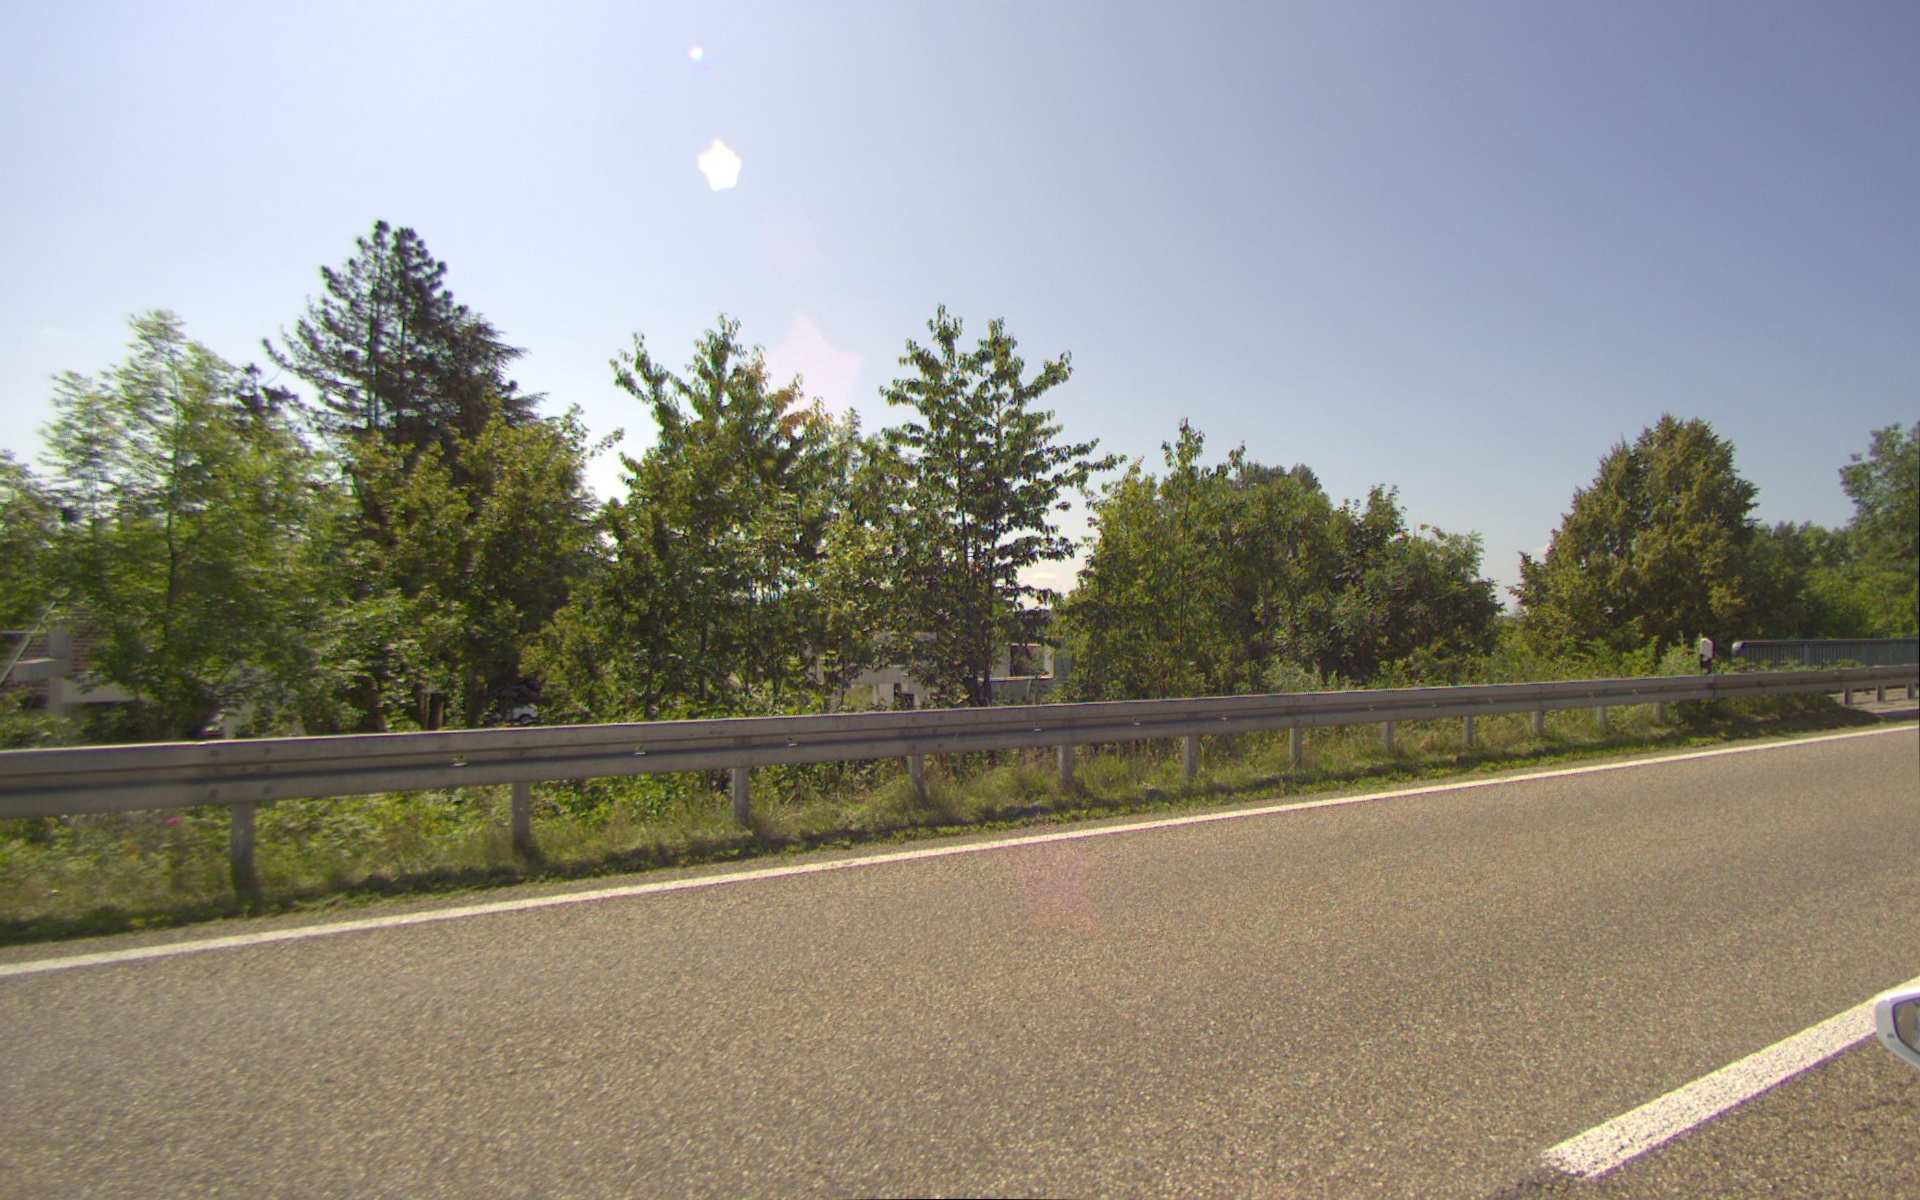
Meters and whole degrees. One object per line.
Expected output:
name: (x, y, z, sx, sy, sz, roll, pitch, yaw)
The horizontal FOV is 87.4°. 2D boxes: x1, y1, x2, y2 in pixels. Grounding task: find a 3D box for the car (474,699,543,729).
car: (-28.695, 7.246, 63.899, 3.923, 1.705, 1.694, 1, -3, -27)
